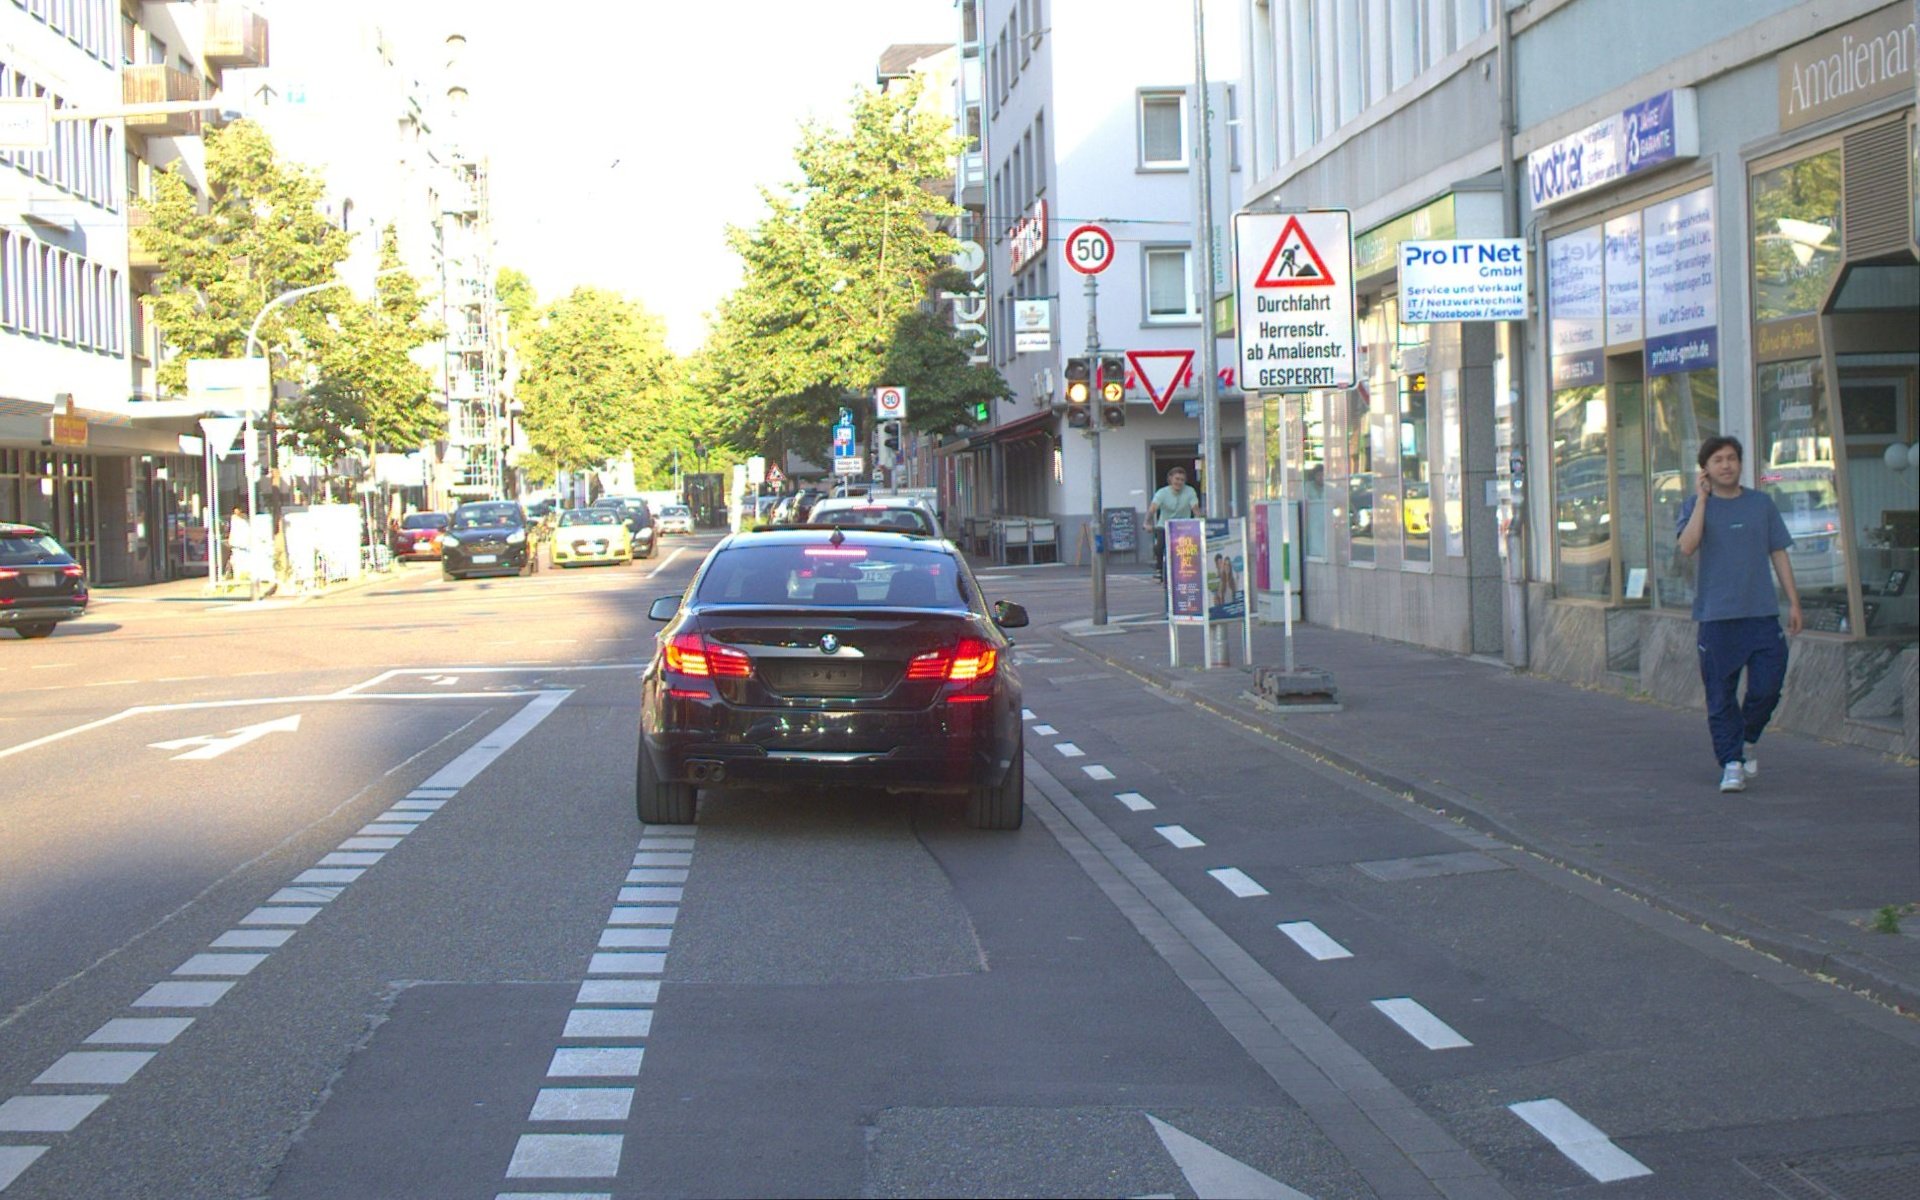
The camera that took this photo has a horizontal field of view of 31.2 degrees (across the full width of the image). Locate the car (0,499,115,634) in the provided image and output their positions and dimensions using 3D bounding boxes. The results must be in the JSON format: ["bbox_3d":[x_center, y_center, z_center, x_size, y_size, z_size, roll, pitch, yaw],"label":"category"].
[{"bbox_3d":[-12.901,-0.420,43.030,4.442,1.589,1.875,0,2,31],"label":"car"}]

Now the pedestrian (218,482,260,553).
[{"bbox_3d":[-17.406,-1.989,83.005,0.823,1.670,0.872,-2,2,-4],"label":"pedestrian"}]

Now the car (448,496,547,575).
[{"bbox_3d":[-9.982,-1.410,74.005,1.993,1.612,4.001,-2,2,-9],"label":"car"}]

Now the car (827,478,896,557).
[{"bbox_3d":[-2.399,-1.994,82.997,1.421,1.848,3.053,-1,1,-6],"label":"car"}]

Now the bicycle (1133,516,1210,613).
[{"bbox_3d":[2.516,-0.437,41.067,0.690,1.103,1.896,-2,2,-2],"label":"bicycle"}]

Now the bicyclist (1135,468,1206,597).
[{"bbox_3d":[2.507,-0.815,41.018,0.722,1.502,0.900,-2,2,-2],"label":"bicyclist"}]

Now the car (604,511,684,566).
[{"bbox_3d":[-7.950,-1.558,86.338,1.733,1.288,4.001,-2,2,-9],"label":"car"}]

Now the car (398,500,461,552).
[{"bbox_3d":[-15.536,-2.185,100.725,1.733,1.456,4.001,-2,2,-9],"label":"car"}]

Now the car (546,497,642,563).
[{"bbox_3d":[-8.498,-1.626,79.538,1.993,1.437,4.001,-2,2,-9],"label":"car"}]

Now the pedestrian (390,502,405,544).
[{"bbox_3d":[-19.260,-2.628,117.693,0.444,1.411,0.525,-2,2,-5],"label":"pedestrian"}]

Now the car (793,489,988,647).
[{"bbox_3d":[-0.696,-0.392,37.171,1.833,1.570,4.100,-1,2,2],"label":"car"}]

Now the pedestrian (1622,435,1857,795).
[{"bbox_3d":[3.682,0.056,16.296,0.823,1.636,0.872,-2,2,-5],"label":"pedestrian"}]

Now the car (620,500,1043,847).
[{"bbox_3d":[-0.745,0.273,17.885,1.903,1.535,4.451,1,2,-4],"label":"car"}]

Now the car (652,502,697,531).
[{"bbox_3d":[-13.135,-3.852,157.954,1.733,1.288,4.001,-2,2,-9],"label":"car"}]
